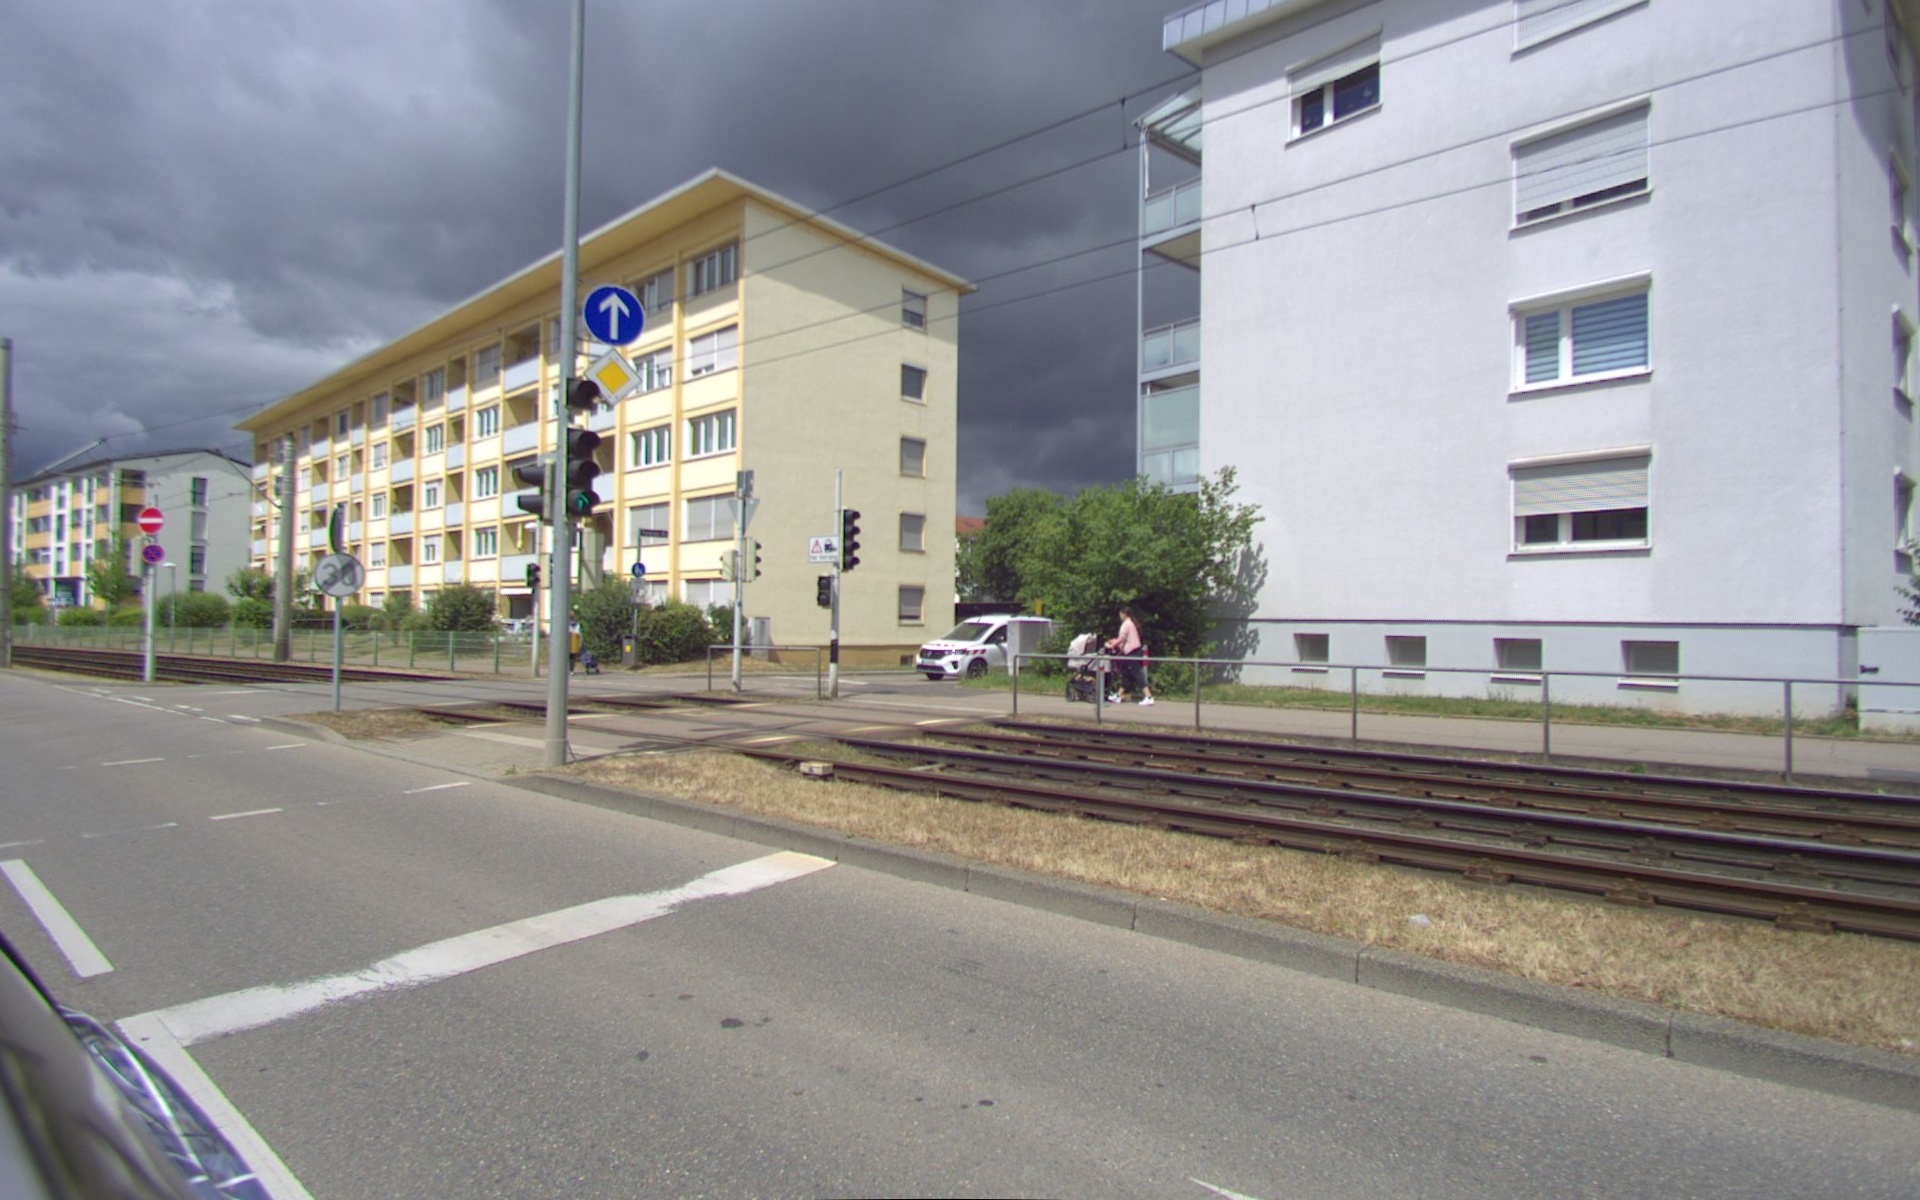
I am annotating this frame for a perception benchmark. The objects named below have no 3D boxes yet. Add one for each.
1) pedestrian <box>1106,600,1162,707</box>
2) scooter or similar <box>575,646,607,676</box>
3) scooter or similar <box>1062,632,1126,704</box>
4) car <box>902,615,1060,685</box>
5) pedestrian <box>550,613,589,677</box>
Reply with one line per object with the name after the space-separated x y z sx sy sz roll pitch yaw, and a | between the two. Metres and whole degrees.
2.871 0.867 16.718 0.679 1.705 0.638 -1 -1 41 | pedestrian
-9.708 1.603 26.625 0.665 0.779 0.527 -1 -3 39 | scooter or similar
2.276 1.132 17.230 0.891 1.172 0.602 -1 -1 41 | scooter or similar
0.626 1.297 27.395 4.227 1.742 1.812 1 -2 -44 | car
-10.119 1.164 26.247 0.773 1.620 0.598 -1 -3 39 | pedestrian
